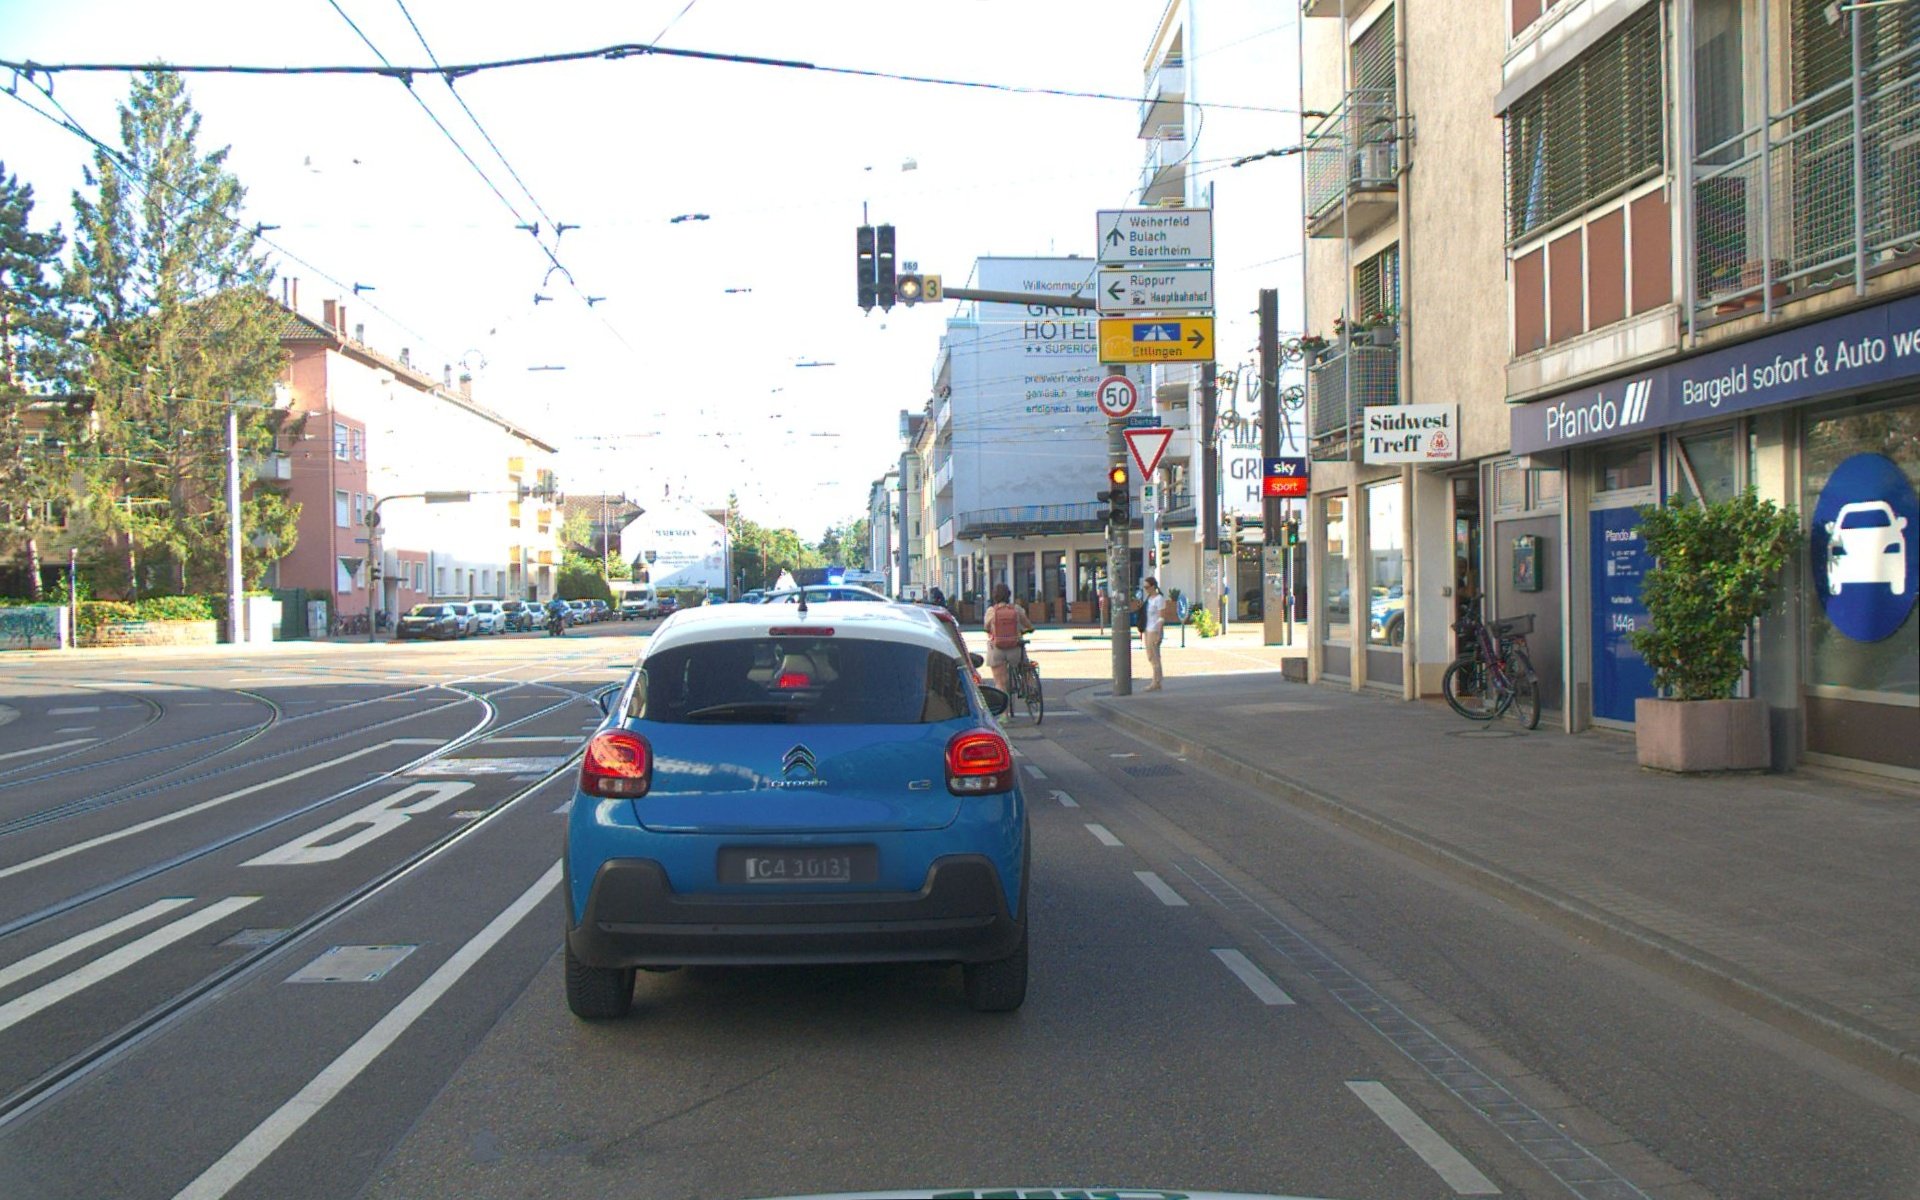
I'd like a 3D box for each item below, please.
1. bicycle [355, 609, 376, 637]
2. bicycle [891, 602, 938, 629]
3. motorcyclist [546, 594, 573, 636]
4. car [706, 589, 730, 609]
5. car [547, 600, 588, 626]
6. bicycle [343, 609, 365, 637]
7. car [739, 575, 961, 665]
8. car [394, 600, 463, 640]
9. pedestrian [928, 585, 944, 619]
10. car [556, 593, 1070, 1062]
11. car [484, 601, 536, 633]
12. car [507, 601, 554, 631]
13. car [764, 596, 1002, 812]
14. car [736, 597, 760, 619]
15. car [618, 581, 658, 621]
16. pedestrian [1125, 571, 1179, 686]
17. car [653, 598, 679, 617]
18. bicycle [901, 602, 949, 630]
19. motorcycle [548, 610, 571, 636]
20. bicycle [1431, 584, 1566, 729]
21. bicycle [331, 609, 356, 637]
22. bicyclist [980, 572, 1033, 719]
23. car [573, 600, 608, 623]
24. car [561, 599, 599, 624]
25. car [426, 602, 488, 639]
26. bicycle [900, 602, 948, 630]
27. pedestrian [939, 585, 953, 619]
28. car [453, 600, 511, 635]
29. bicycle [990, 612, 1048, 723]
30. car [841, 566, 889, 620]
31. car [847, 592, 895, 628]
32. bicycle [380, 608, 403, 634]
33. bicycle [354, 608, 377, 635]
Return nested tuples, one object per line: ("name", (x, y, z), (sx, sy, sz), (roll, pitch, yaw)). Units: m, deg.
("bicycle", (-24.232, 0.939, 67.427), (0.527, 1.101, 1.905), (-1, 0, -11))
("bicycle", (-1.863, 0.639, 68.284), (1.868, 1.083, 0.641), (-1, 0, -8))
("motorcyclist", (-16.207, 0.607, 66.964), (0.973, 1.659, 0.737), (-1, 0, -10))
("car", (-21.709, -0.102, 147.981), (1.969, 1.656, 5.041), (-1, 0, -10))
("car", (-24.414, 0.809, 103.001), (1.913, 1.545, 3.995), (-1, 0, -6))
("bicycle", (-24.590, 0.931, 67.128), (0.527, 1.101, 1.905), (-1, 0, -11))
("car", (-2.287, 0.388, 34.276), (4.446, 1.713, 1.790), (-1, 0, -5))
("car", (-22.017, 0.793, 68.662), (1.913, 1.545, 3.995), (-1, 0, -6))
("pedestrian", (-1.013, 0.086, 70.251), (0.514, 1.445, 0.547), (-1, 0, 19))
("car", (-0.609, 0.731, 7.364), (1.647, 1.488, 3.997), (1, 0, -4))
("car", (-23.237, 0.841, 85.530), (1.913, 1.545, 3.995), (-1, 0, -6))
("car", (-23.768, 0.857, 91.579), (1.913, 1.545, 3.995), (-1, 0, -6))
("car", (-0.677, 0.726, 13.572), (1.647, 1.488, 3.997), (1, 0, -4))
("car", (-21.822, 0.806, 170.504), (2.293, 2.074, 5.044), (-1, 0, -6))
("car", (-23.230, 0.068, 119.588), (2.446, 2.759, 5.828), (-1, 0, -7))
("pedestrian", (2.827, 0.410, 24.421), (0.735, 1.663, 0.740), (-1, 0, 5))
("car", (-25.583, 0.643, 144.177), (1.913, 1.545, 3.995), (-1, 0, -6))
("bicycle", (-1.395, 0.637, 65.793), (1.868, 1.083, 0.641), (-1, 0, -8))
("motorcycle", (-16.228, 0.940, 67.033), (0.738, 0.993, 2.092), (-1, 0, -9))
("bicycle", (5.115, 0.503, 15.833), (0.627, 1.286, 1.910), (-1, 0, -1))
("bicycle", (-24.984, 0.921, 67.002), (0.628, 1.101, 1.905), (-1, 0, -11))
("bicyclist", (0.569, 0.550, 20.609), (0.588, 1.776, 1.084), (-1, 0, -1))
("car", (-25.573, 0.789, 114.604), (1.913, 1.545, 3.995), (-1, 0, -6))
("car", (-24.856, 0.750, 108.274), (1.913, 1.545, 3.995), (-1, 0, -6))
("car", (-22.556, 0.878, 74.267), (1.913, 1.545, 4.040), (-1, 0, -6))
("bicycle", (-1.448, 0.661, 67.098), (1.868, 1.083, 0.641), (-1, 0, -8))
("pedestrian", (-0.588, 0.081, 70.006), (0.459, 1.445, 0.525), (-1, 0, -13))
("car", (-22.759, 0.822, 78.873), (1.913, 1.545, 3.995), (-1, 0, -6))
("bicycle", (0.723, 0.813, 20.650), (0.601, 1.286, 1.910), (-1, 0, -1))
("car", (-4.234, -0.321, 73.191), (2.039, 2.309, 5.646), (0, 0, -4))
("car", (-3.678, 0.381, 67.753), (1.752, 1.383, 3.909), (-1, 0, -6))
("bicycle", (-25.675, 0.944, 74.703), (0.597, 1.101, 1.908), (-1, 0, -7))
("bicycle", (-25.877, 0.930, 71.998), (0.527, 1.101, 1.908), (-1, 0, -7))
